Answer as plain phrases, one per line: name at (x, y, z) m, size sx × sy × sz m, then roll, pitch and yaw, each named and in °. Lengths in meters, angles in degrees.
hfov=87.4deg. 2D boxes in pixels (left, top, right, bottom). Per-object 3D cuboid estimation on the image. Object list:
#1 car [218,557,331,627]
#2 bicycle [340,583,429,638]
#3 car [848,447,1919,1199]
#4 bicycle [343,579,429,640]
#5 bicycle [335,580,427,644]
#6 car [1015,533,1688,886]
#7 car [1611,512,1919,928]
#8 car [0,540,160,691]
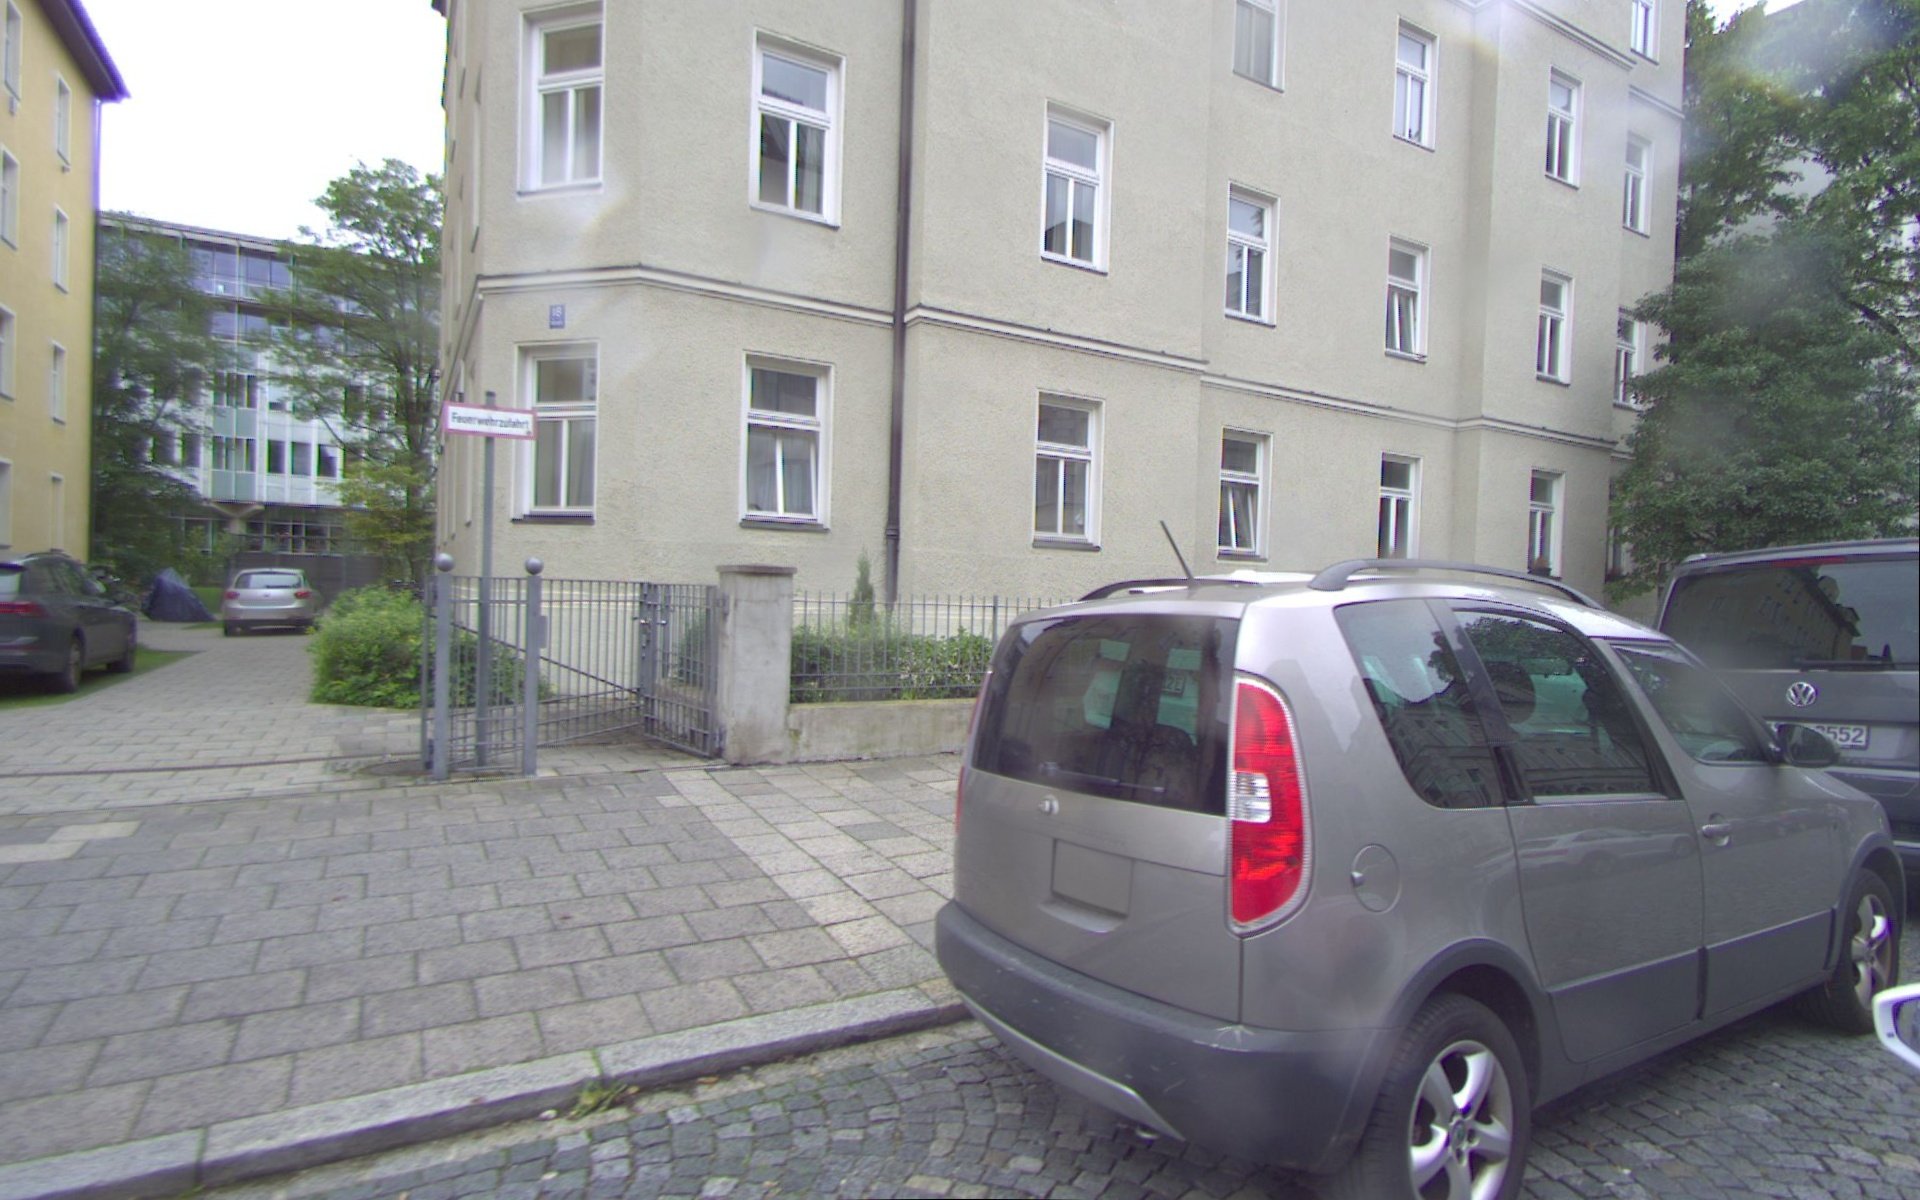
car at (-15.507, -0.180, 22.914) m, size 1.727 × 1.407 × 3.960 m, roll 2°, pitch 0°, yaw -29°
bicycle at (-11.062, 0.210, 19.325) m, size 1.452 × 1.009 × 0.514 m, roll 1°, pitch 1°, yaw -31°
car at (1.939, 0.655, 3.865) m, size 4.356 × 1.758 × 1.855 m, roll 2°, pitch -2°, yaw -33°
bicycle at (-11.363, 0.191, 19.906) m, size 1.452 × 1.154 × 0.514 m, roll 1°, pitch 1°, yaw -31°
bicycle at (-10.758, 0.229, 18.699) m, size 1.452 × 1.154 × 0.514 m, roll 1°, pitch 1°, yaw -31°
car at (2.867, 0.564, 7.083) m, size 4.604 × 1.758 × 1.934 m, roll 2°, pitch 3°, yaw -31°
car at (6.315, 0.626, 6.312) m, size 4.772 × 1.942 × 1.864 m, roll 2°, pitch -2°, yaw -31°
car at (-10.462, 0.112, 11.101) m, size 1.811 × 1.442 × 4.050 m, roll 2°, pitch 0°, yaw -29°
